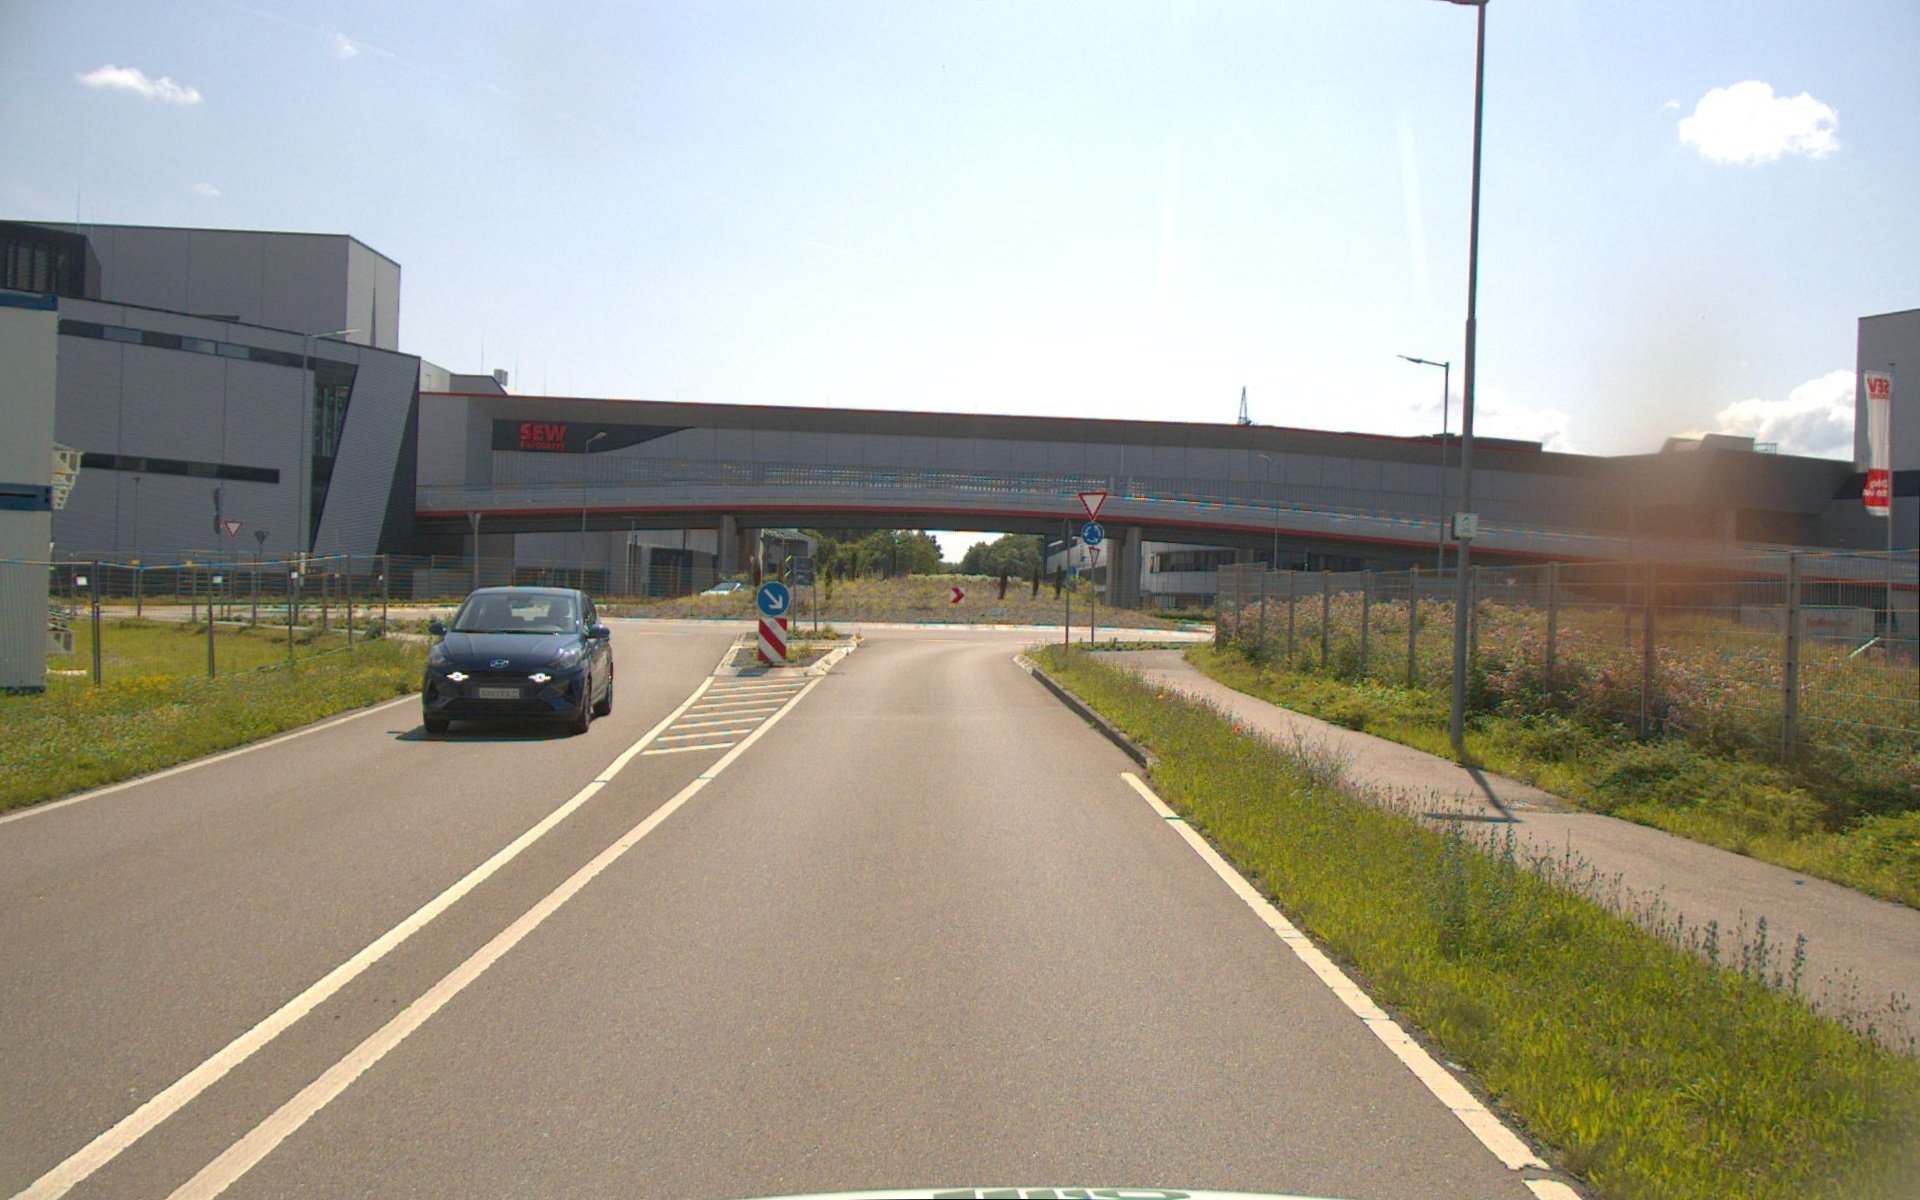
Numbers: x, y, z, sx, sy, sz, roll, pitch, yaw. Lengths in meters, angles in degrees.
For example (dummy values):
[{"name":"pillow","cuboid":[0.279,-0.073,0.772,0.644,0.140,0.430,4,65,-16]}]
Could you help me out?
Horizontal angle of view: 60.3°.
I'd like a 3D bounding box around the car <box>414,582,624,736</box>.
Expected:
[{"name":"car","cuboid":[-4.750,0.596,18.309,1.670,1.508,3.994,1,0,-7]}]
